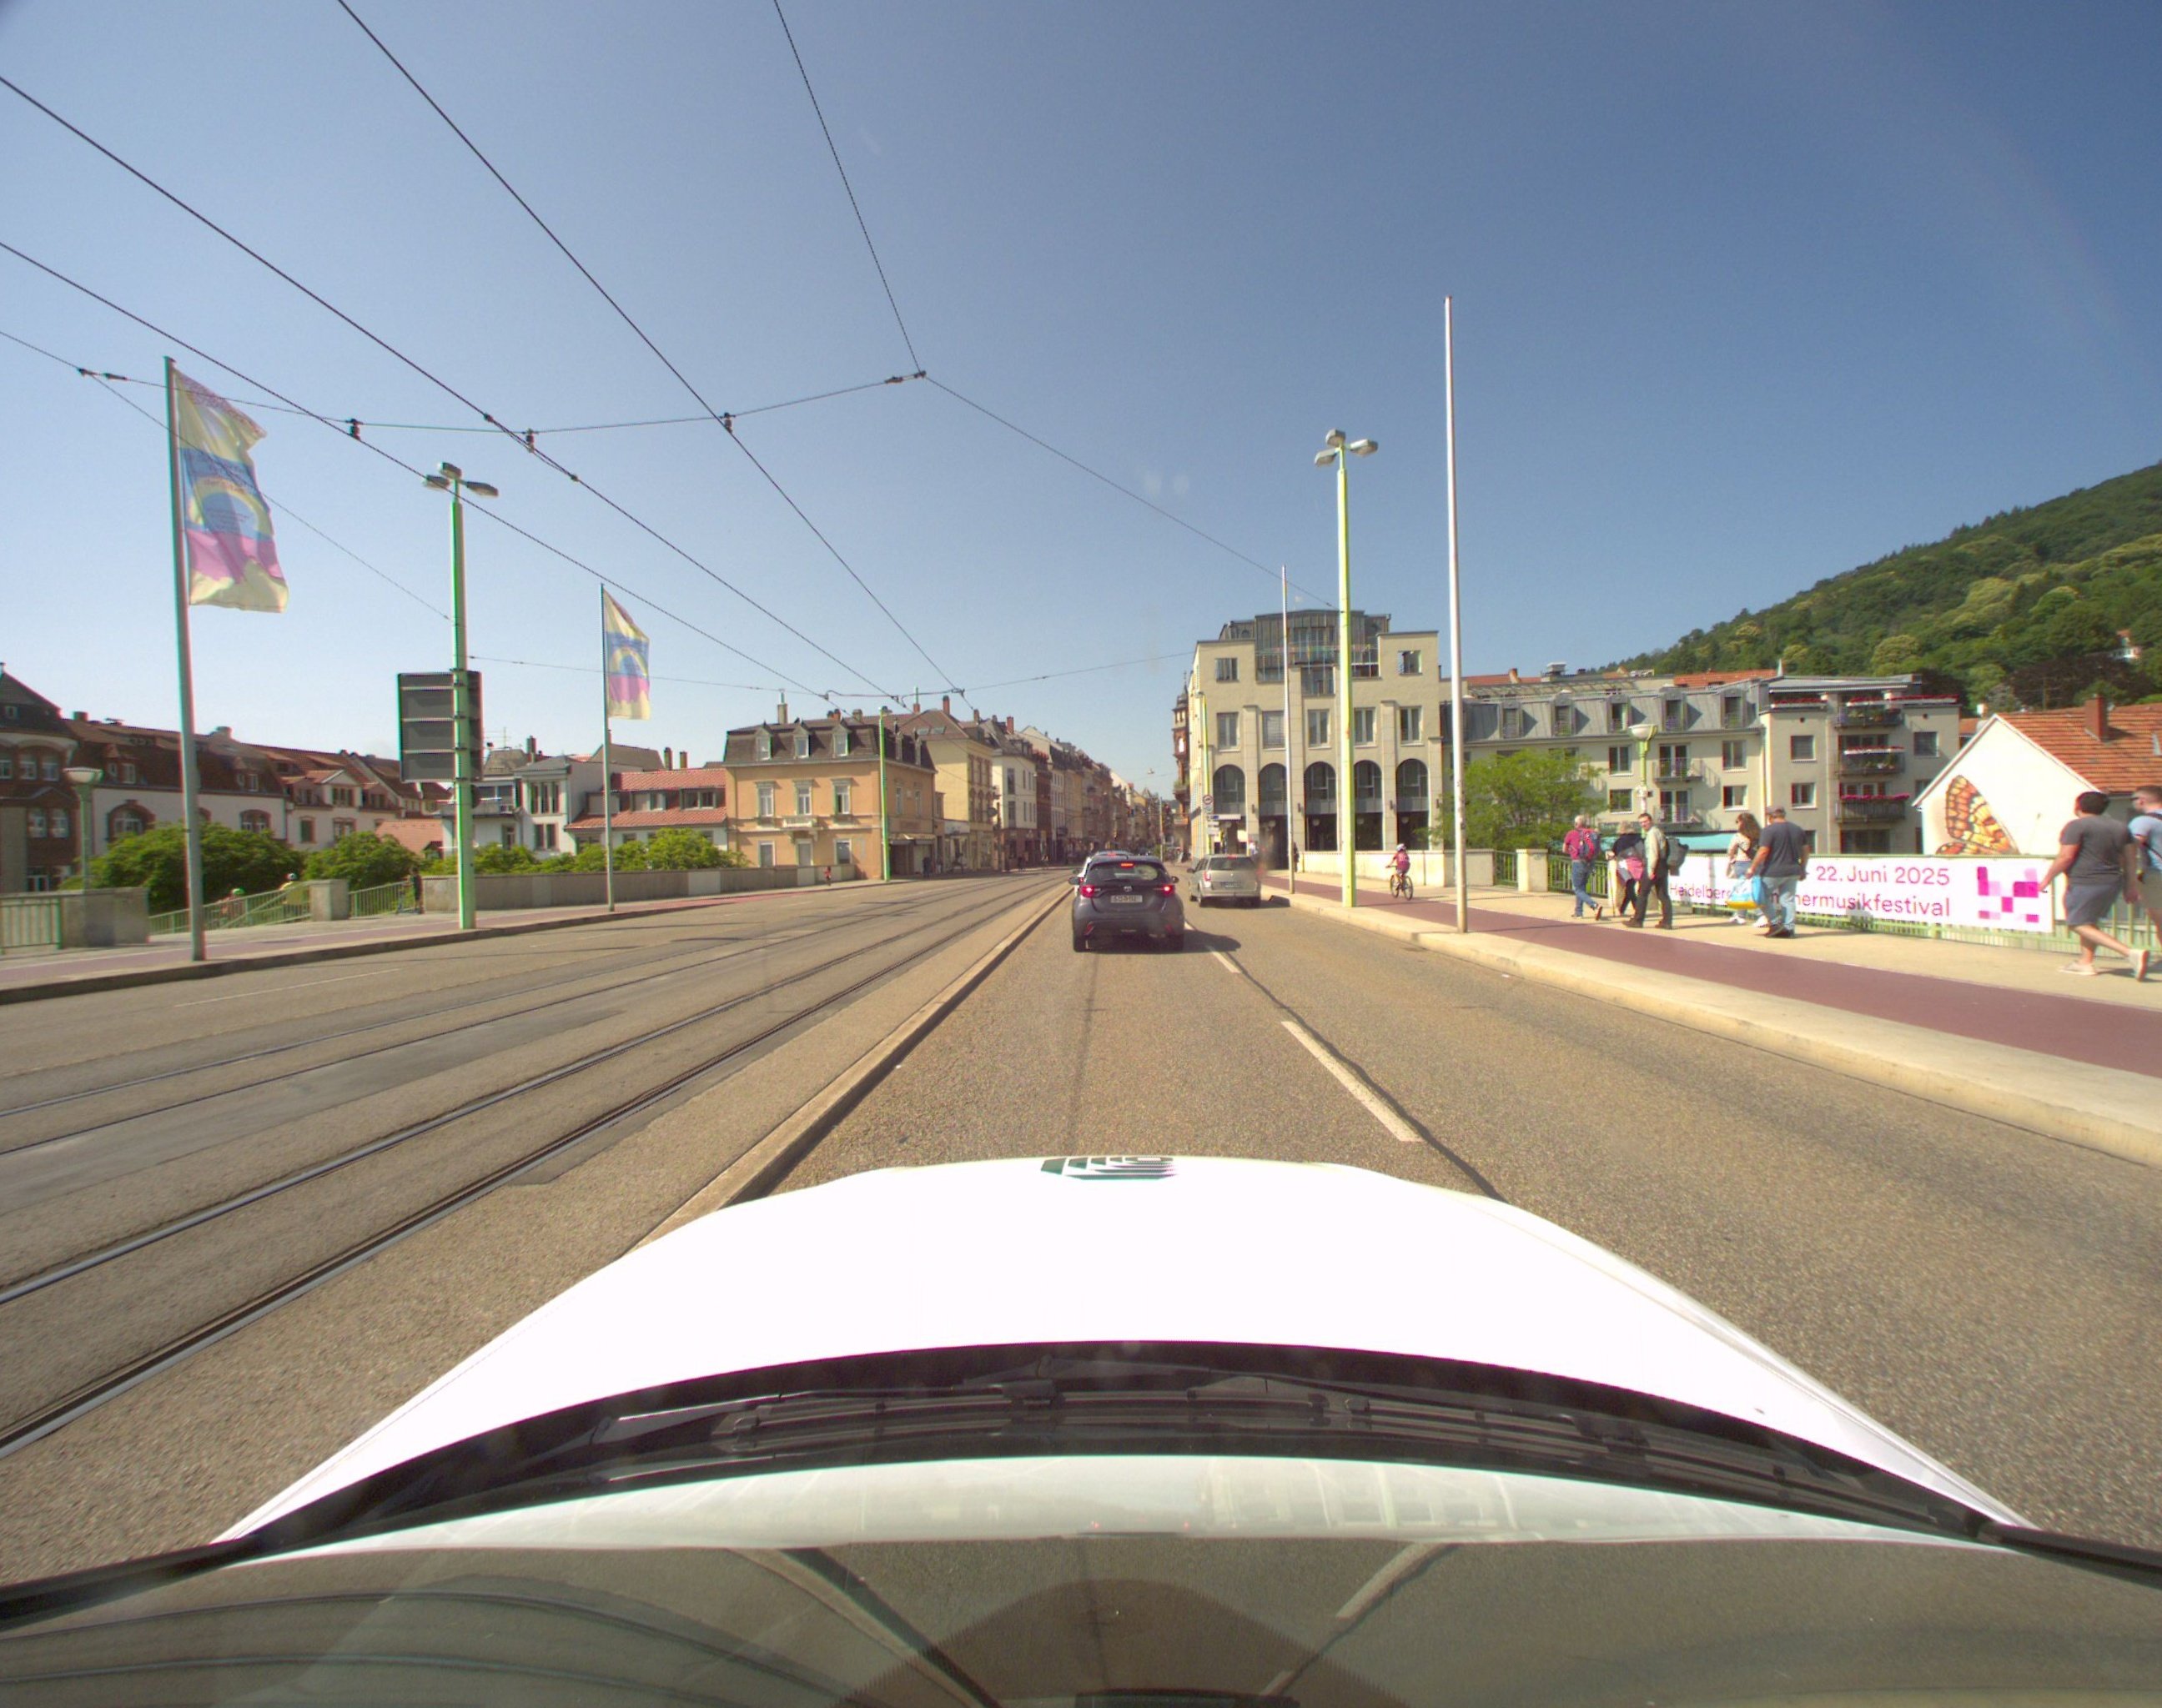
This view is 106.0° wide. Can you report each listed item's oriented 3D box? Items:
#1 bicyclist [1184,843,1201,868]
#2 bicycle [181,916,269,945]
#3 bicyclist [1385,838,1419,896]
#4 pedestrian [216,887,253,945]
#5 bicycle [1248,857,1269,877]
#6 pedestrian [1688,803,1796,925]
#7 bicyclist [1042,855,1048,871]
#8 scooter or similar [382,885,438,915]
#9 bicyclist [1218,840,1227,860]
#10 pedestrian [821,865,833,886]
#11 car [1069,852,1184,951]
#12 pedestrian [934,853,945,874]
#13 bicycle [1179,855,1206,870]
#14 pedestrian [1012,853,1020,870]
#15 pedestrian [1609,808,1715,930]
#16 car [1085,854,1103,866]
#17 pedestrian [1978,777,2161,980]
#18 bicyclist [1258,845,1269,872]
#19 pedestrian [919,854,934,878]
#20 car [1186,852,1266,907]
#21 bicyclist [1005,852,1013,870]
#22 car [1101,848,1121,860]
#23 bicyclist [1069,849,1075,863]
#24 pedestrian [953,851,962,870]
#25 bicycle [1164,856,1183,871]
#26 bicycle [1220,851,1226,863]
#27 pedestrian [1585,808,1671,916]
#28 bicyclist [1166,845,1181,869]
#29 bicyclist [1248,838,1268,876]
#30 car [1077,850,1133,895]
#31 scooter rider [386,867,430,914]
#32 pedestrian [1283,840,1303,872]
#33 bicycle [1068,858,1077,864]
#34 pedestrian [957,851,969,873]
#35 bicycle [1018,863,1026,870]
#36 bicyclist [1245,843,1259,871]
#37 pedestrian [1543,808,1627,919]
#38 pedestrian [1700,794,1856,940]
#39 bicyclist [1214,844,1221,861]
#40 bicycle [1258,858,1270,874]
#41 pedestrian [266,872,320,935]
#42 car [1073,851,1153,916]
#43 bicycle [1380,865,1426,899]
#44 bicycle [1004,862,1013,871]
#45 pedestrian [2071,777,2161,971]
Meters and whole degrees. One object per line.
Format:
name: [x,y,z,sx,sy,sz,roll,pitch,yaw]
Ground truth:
bicyclist: [11.596,0.175,84.555,1.236,2.529,1.094,3,0,-31]
bicycle: [-24.410,2.175,23.233,1.918,0.716,0.623,0,1,4]
bicyclist: [7.988,0.324,20.284,0.532,1.383,0.669,-3,0,2]
pedestrian: [-24.273,1.765,23.348,0.623,1.632,0.414,1,0,4]
bicycle: [8.252,0.600,37.981,0.701,0.882,1.527,-2,0,3]
pedestrian: [9.992,0.147,12.354,0.736,1.746,1.016,-3,0,2]
bicyclist: [-3.857,0.960,87.336,0.625,1.650,0.622,0,1,3]
scooter or similar: [-19.708,1.343,23.938,0.774,0.782,0.964,3,0,13]
bicyclist: [9.719,-0.262,55.904,0.535,1.316,0.673,-3,0,9]
pedestrian: [-14.092,1.194,45.207,0.410,1.146,0.545,3,0,7]
car: [0.747,0.712,14.002,1.713,1.473,3.660,0,0,2]
pedestrian: [-11.108,0.771,63.832,0.646,1.602,0.566,3,2,2]
bicycle: [11.544,0.912,84.638,1.119,1.420,2.979,3,0,-30]
pedestrian: [-6.916,0.800,86.190,0.733,1.766,0.788,-1,1,2]
pedestrian: [8.690,0.210,12.233,0.751,1.718,1.073,-3,0,2]
car: [1.630,0.737,101.444,1.721,1.460,4.384,-2,0,8]
pedestrian: [9.205,0.200,7.479,0.736,1.718,1.016,-3,0,2]
bicyclist: [9.453,0.216,42.277,0.420,1.383,0.444,-3,0,2]
pedestrian: [-10.947,0.838,57.628,0.757,1.654,0.713,3,0,10]
car: [4.115,0.671,23.739,1.699,1.466,4.328,0,0,2]
bicyclist: [-6.585,0.624,74.156,0.625,1.650,0.622,0,1,3]
car: [4.136,0.003,111.436,1.981,1.586,4.666,-2,0,10]
bicyclist: [-1.038,0.217,95.835,0.623,1.650,0.624,0,1,11]
pedestrian: [-10.842,0.575,71.546,0.646,1.602,0.566,3,2,2]
bicycle: [10.073,1.030,88.999,1.113,1.420,2.995,3,0,-12]
bicycle: [9.759,0.189,55.951,0.414,0.765,1.209,-3,0,9]
pedestrian: [9.456,0.133,14.122,0.736,1.777,1.016,-3,0,2]
bicyclist: [10.101,0.337,88.980,1.229,2.529,1.100,3,0,-12]
bicyclist: [8.227,0.132,37.966,0.699,1.695,0.925,-2,0,3]
car: [0.889,0.618,29.544,1.890,1.530,4.002,0,0,2]
scooter rider: [-19.706,1.053,23.863,0.763,1.315,0.600,3,0,13]
pedestrian: [11.015,0.117,42.371,0.736,1.615,1.016,3,0,2]
bicycle: [-1.040,0.813,95.812,0.616,0.716,2.051,0,1,12]
pedestrian: [-9.898,0.651,68.218,0.733,1.766,0.787,3,0,2]
bicycle: [-6.210,1.323,86.019,0.618,0.716,1.772,-1,1,2]
bicyclist: [9.261,0.172,44.088,0.487,1.466,0.438,-3,0,-37]
pedestrian: [8.635,0.161,13.990,0.736,1.802,1.016,-3,0,2]
pedestrian: [9.177,0.162,10.791,0.974,1.777,1.208,-3,0,2]
bicyclist: [10.118,-0.109,60.431,0.420,1.256,0.444,-3,0,5]
bicycle: [9.478,0.612,42.264,0.415,0.765,0.962,-3,0,2]
pedestrian: [-23.337,1.453,24.123,0.741,1.781,0.803,-2,0,7]
car: [0.828,0.700,21.436,1.890,1.530,4.002,0,0,2]
bicycle: [8.015,0.687,20.304,0.512,0.765,1.661,-3,0,2]
bicycle: [-6.583,1.137,74.213,0.618,0.716,1.772,0,1,2]
pedestrian: [9.962,0.167,7.362,0.736,1.718,1.016,-2,0,2]
